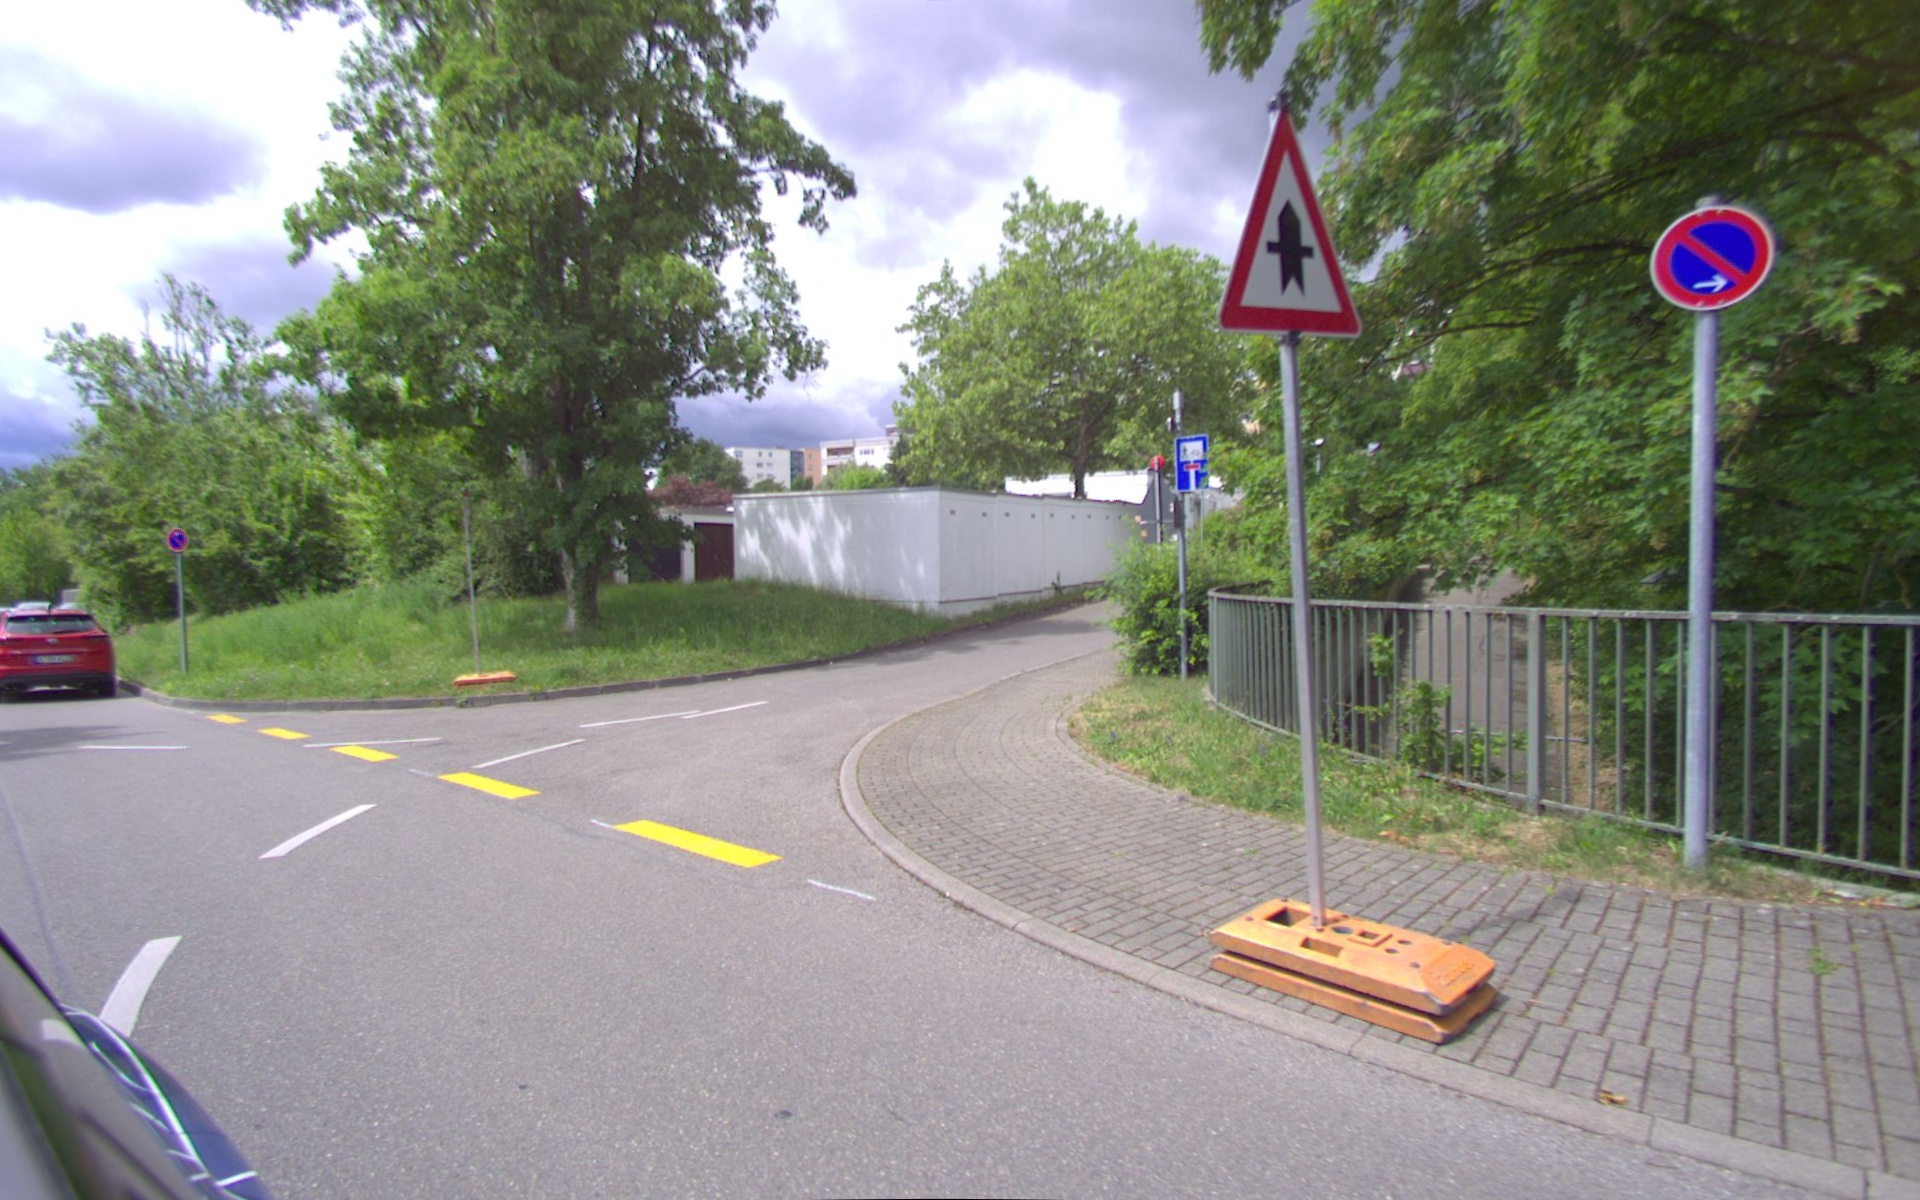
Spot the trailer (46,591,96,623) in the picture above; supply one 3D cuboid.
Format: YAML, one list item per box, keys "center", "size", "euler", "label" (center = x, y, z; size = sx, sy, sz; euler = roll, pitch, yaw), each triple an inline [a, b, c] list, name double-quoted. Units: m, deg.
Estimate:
- center: [-64.169, 0.480, 73.104]
  size: [1.705, 2.094, 3.796]
  euler: [1, 1, -26]
  label: "trailer"

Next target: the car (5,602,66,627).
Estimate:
- center: [-60.055, 0.944, 65.848]
  size: [1.837, 1.488, 4.917]
  euler: [1, 0, -30]
  label: "car"

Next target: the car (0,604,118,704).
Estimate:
- center: [-17.393, 0.960, 19.195]
  size: [1.822, 1.671, 4.224]
  euler: [-1, 0, -45]
  label: "car"

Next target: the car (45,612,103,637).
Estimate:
- center: [-55.493, 1.522, 63.446]
  size: [1.766, 1.520, 4.126]
  euler: [2, -2, -28]
  label: "car"

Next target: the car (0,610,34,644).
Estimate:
- center: [-45.949, 1.260, 48.444]
  size: [1.767, 1.520, 4.124]
  euler: [2, -1, -34]
  label: "car"
